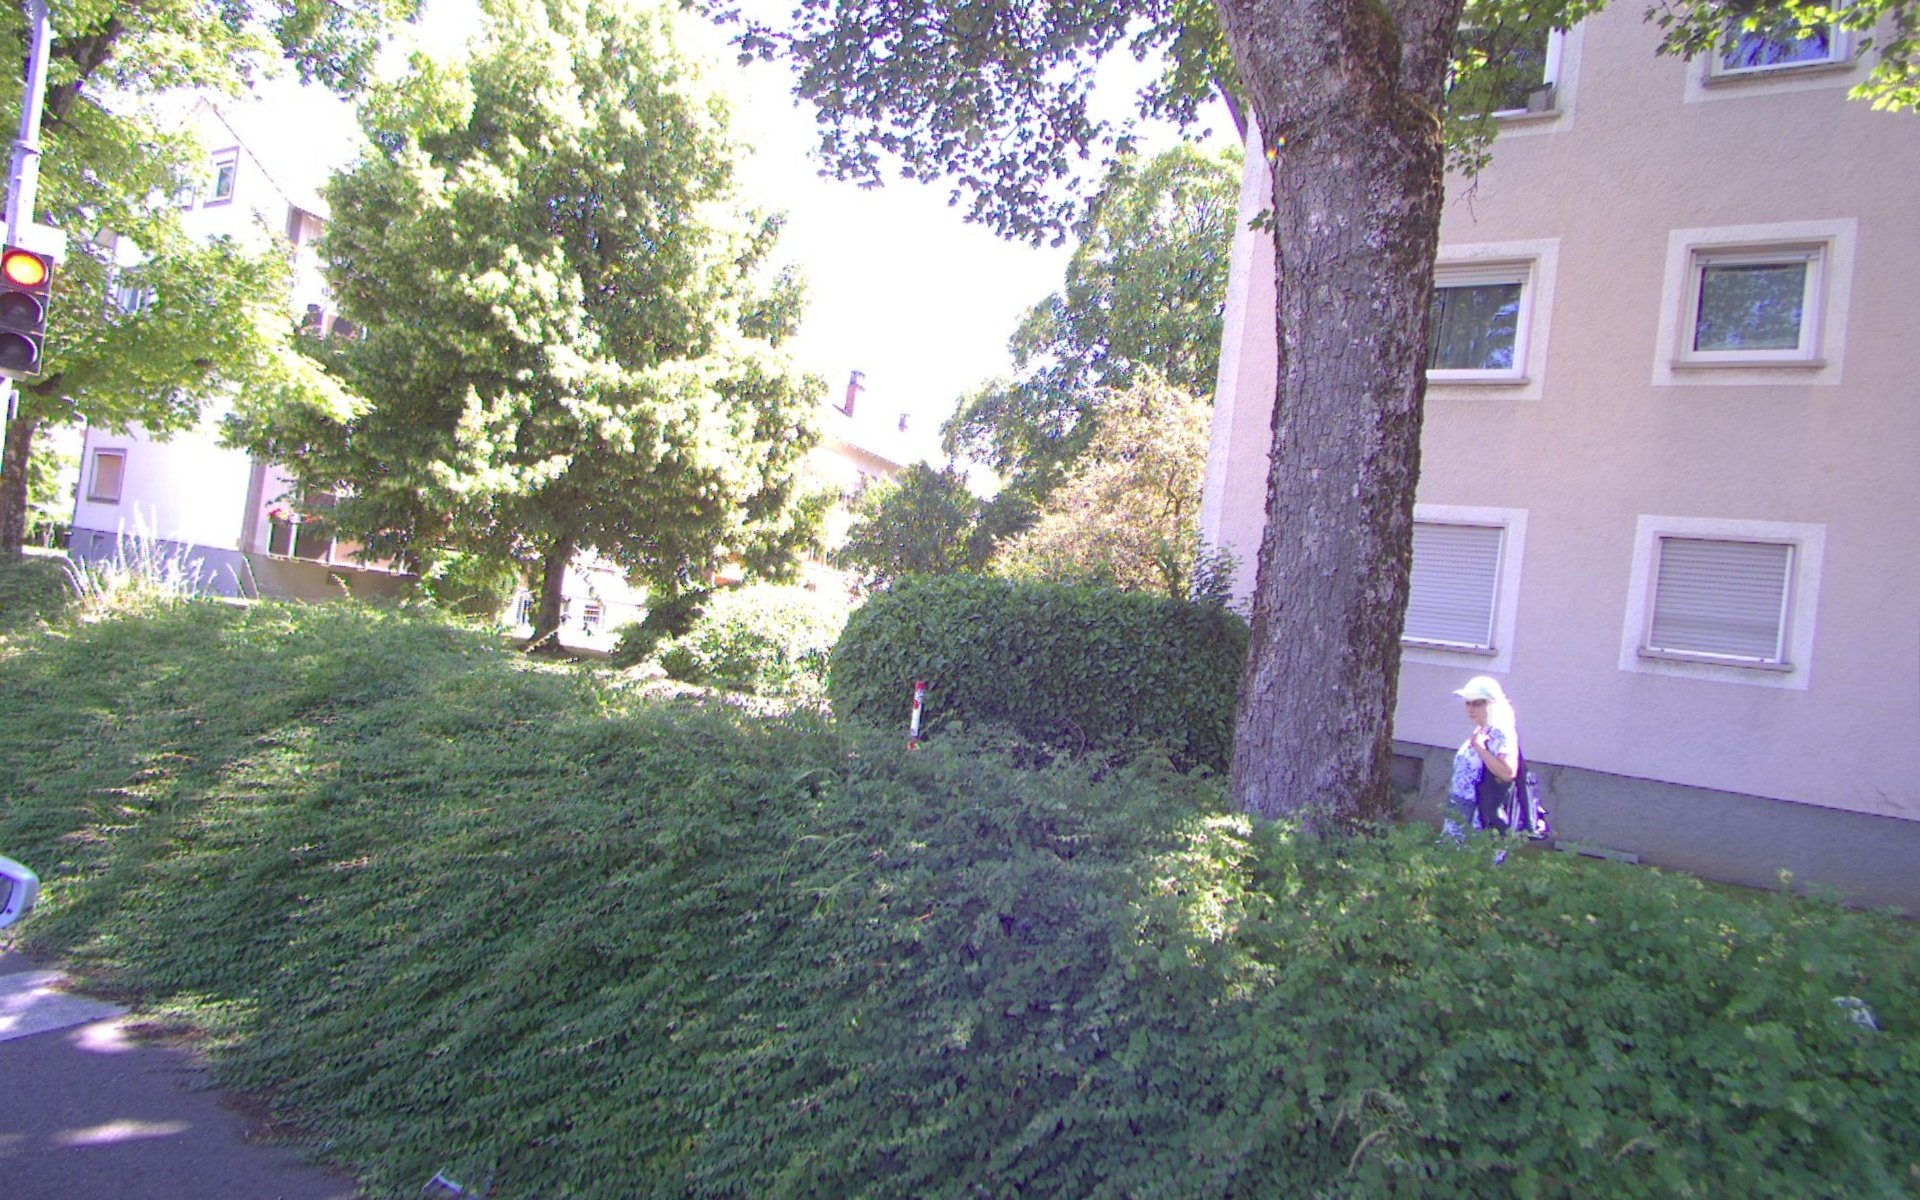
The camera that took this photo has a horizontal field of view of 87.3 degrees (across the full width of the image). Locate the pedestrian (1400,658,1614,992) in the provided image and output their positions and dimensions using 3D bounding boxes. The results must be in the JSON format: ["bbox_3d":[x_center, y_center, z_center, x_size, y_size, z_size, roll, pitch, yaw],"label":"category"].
[{"bbox_3d":[3.078,1.214,5.758,0.836,1.653,0.720,7,0,23],"label":"pedestrian"}]
